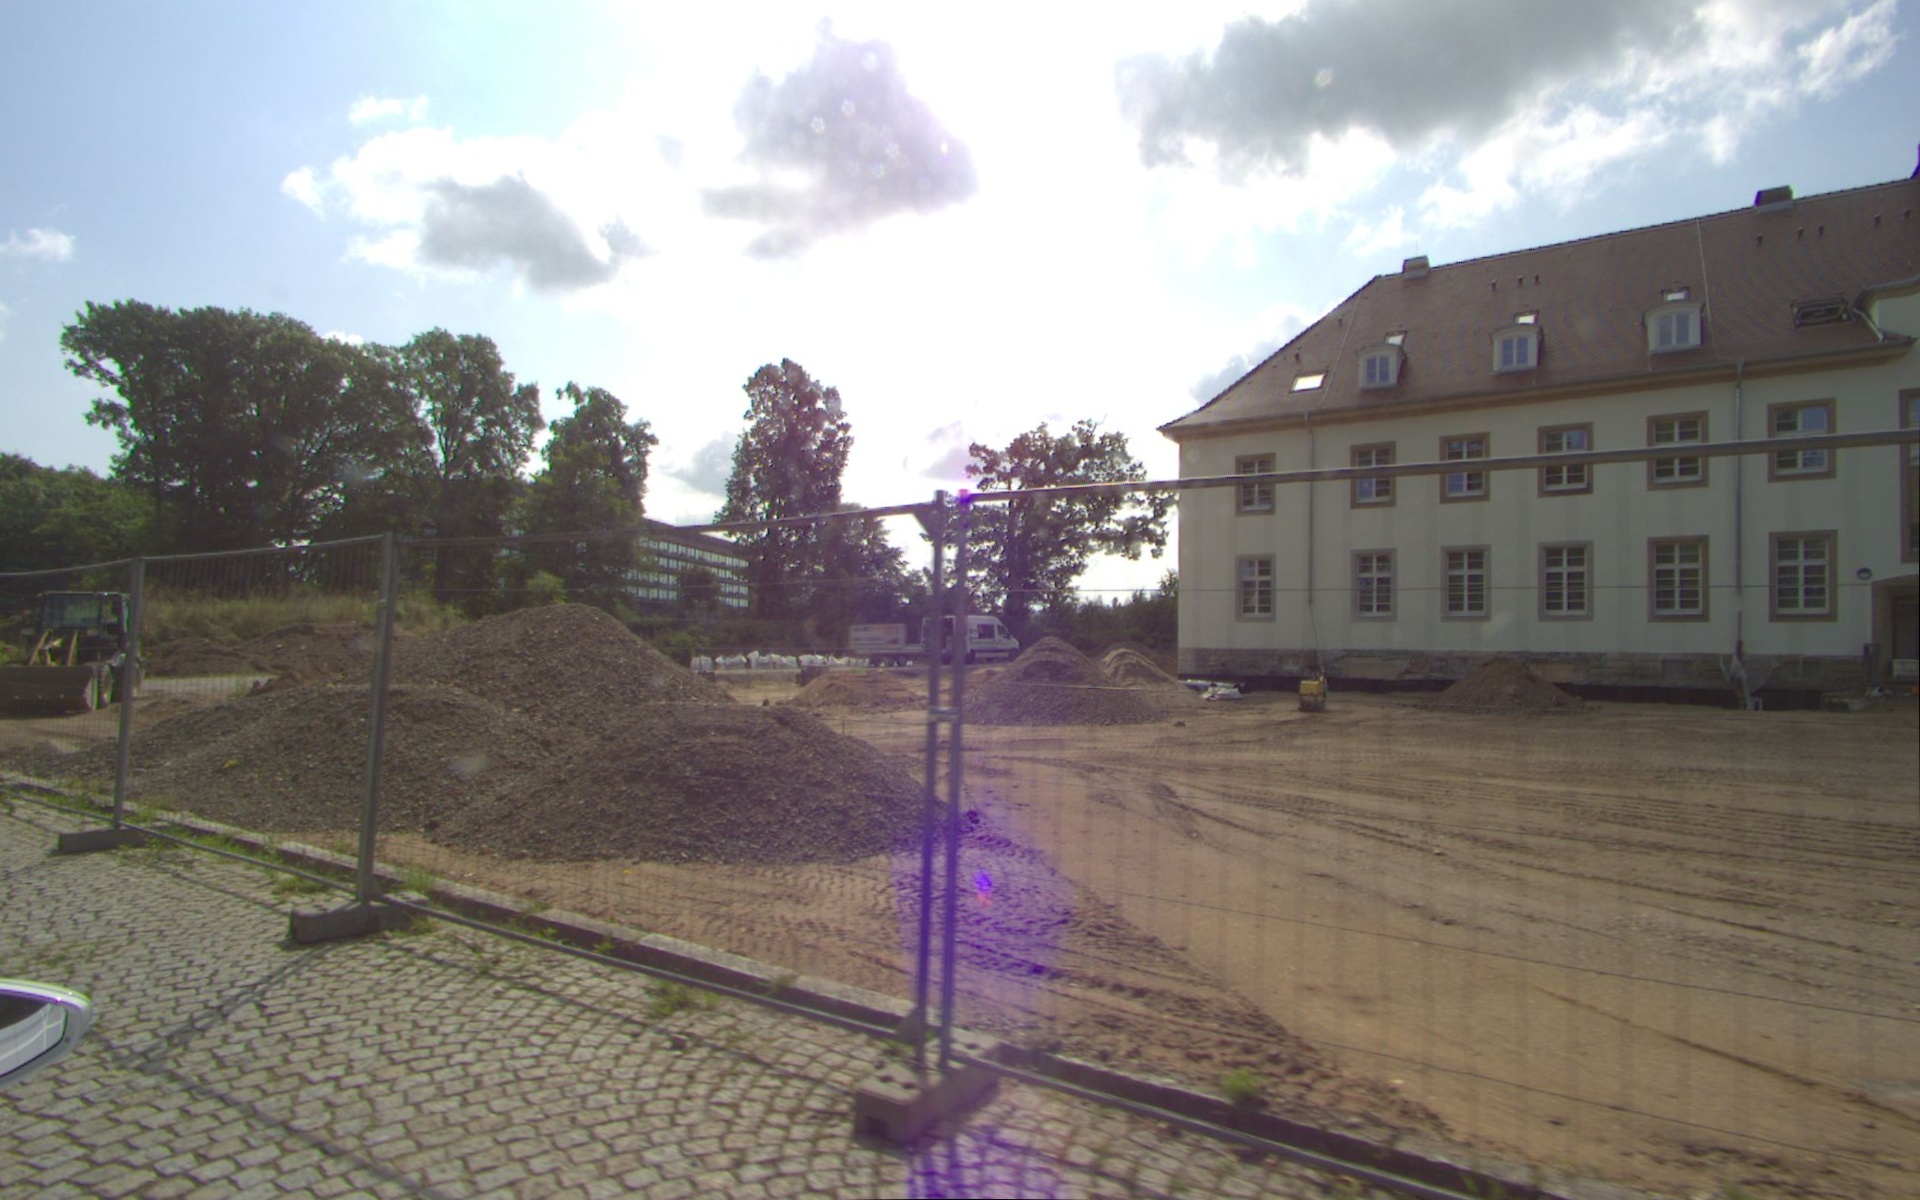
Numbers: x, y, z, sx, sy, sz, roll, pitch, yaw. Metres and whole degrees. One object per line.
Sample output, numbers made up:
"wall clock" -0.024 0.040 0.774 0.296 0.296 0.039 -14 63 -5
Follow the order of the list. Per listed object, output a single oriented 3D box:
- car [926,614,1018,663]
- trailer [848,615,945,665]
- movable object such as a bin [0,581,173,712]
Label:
"car" 0.734 2.135 55.808 2.222 2.624 5.395 -1 -2 41
"trailer" -3.290 2.083 52.462 4.783 2.504 1.949 1 -2 -35
"movable object such as a bin" -19.462 0.957 22.240 2.118 2.554 5.630 1 -1 -28
